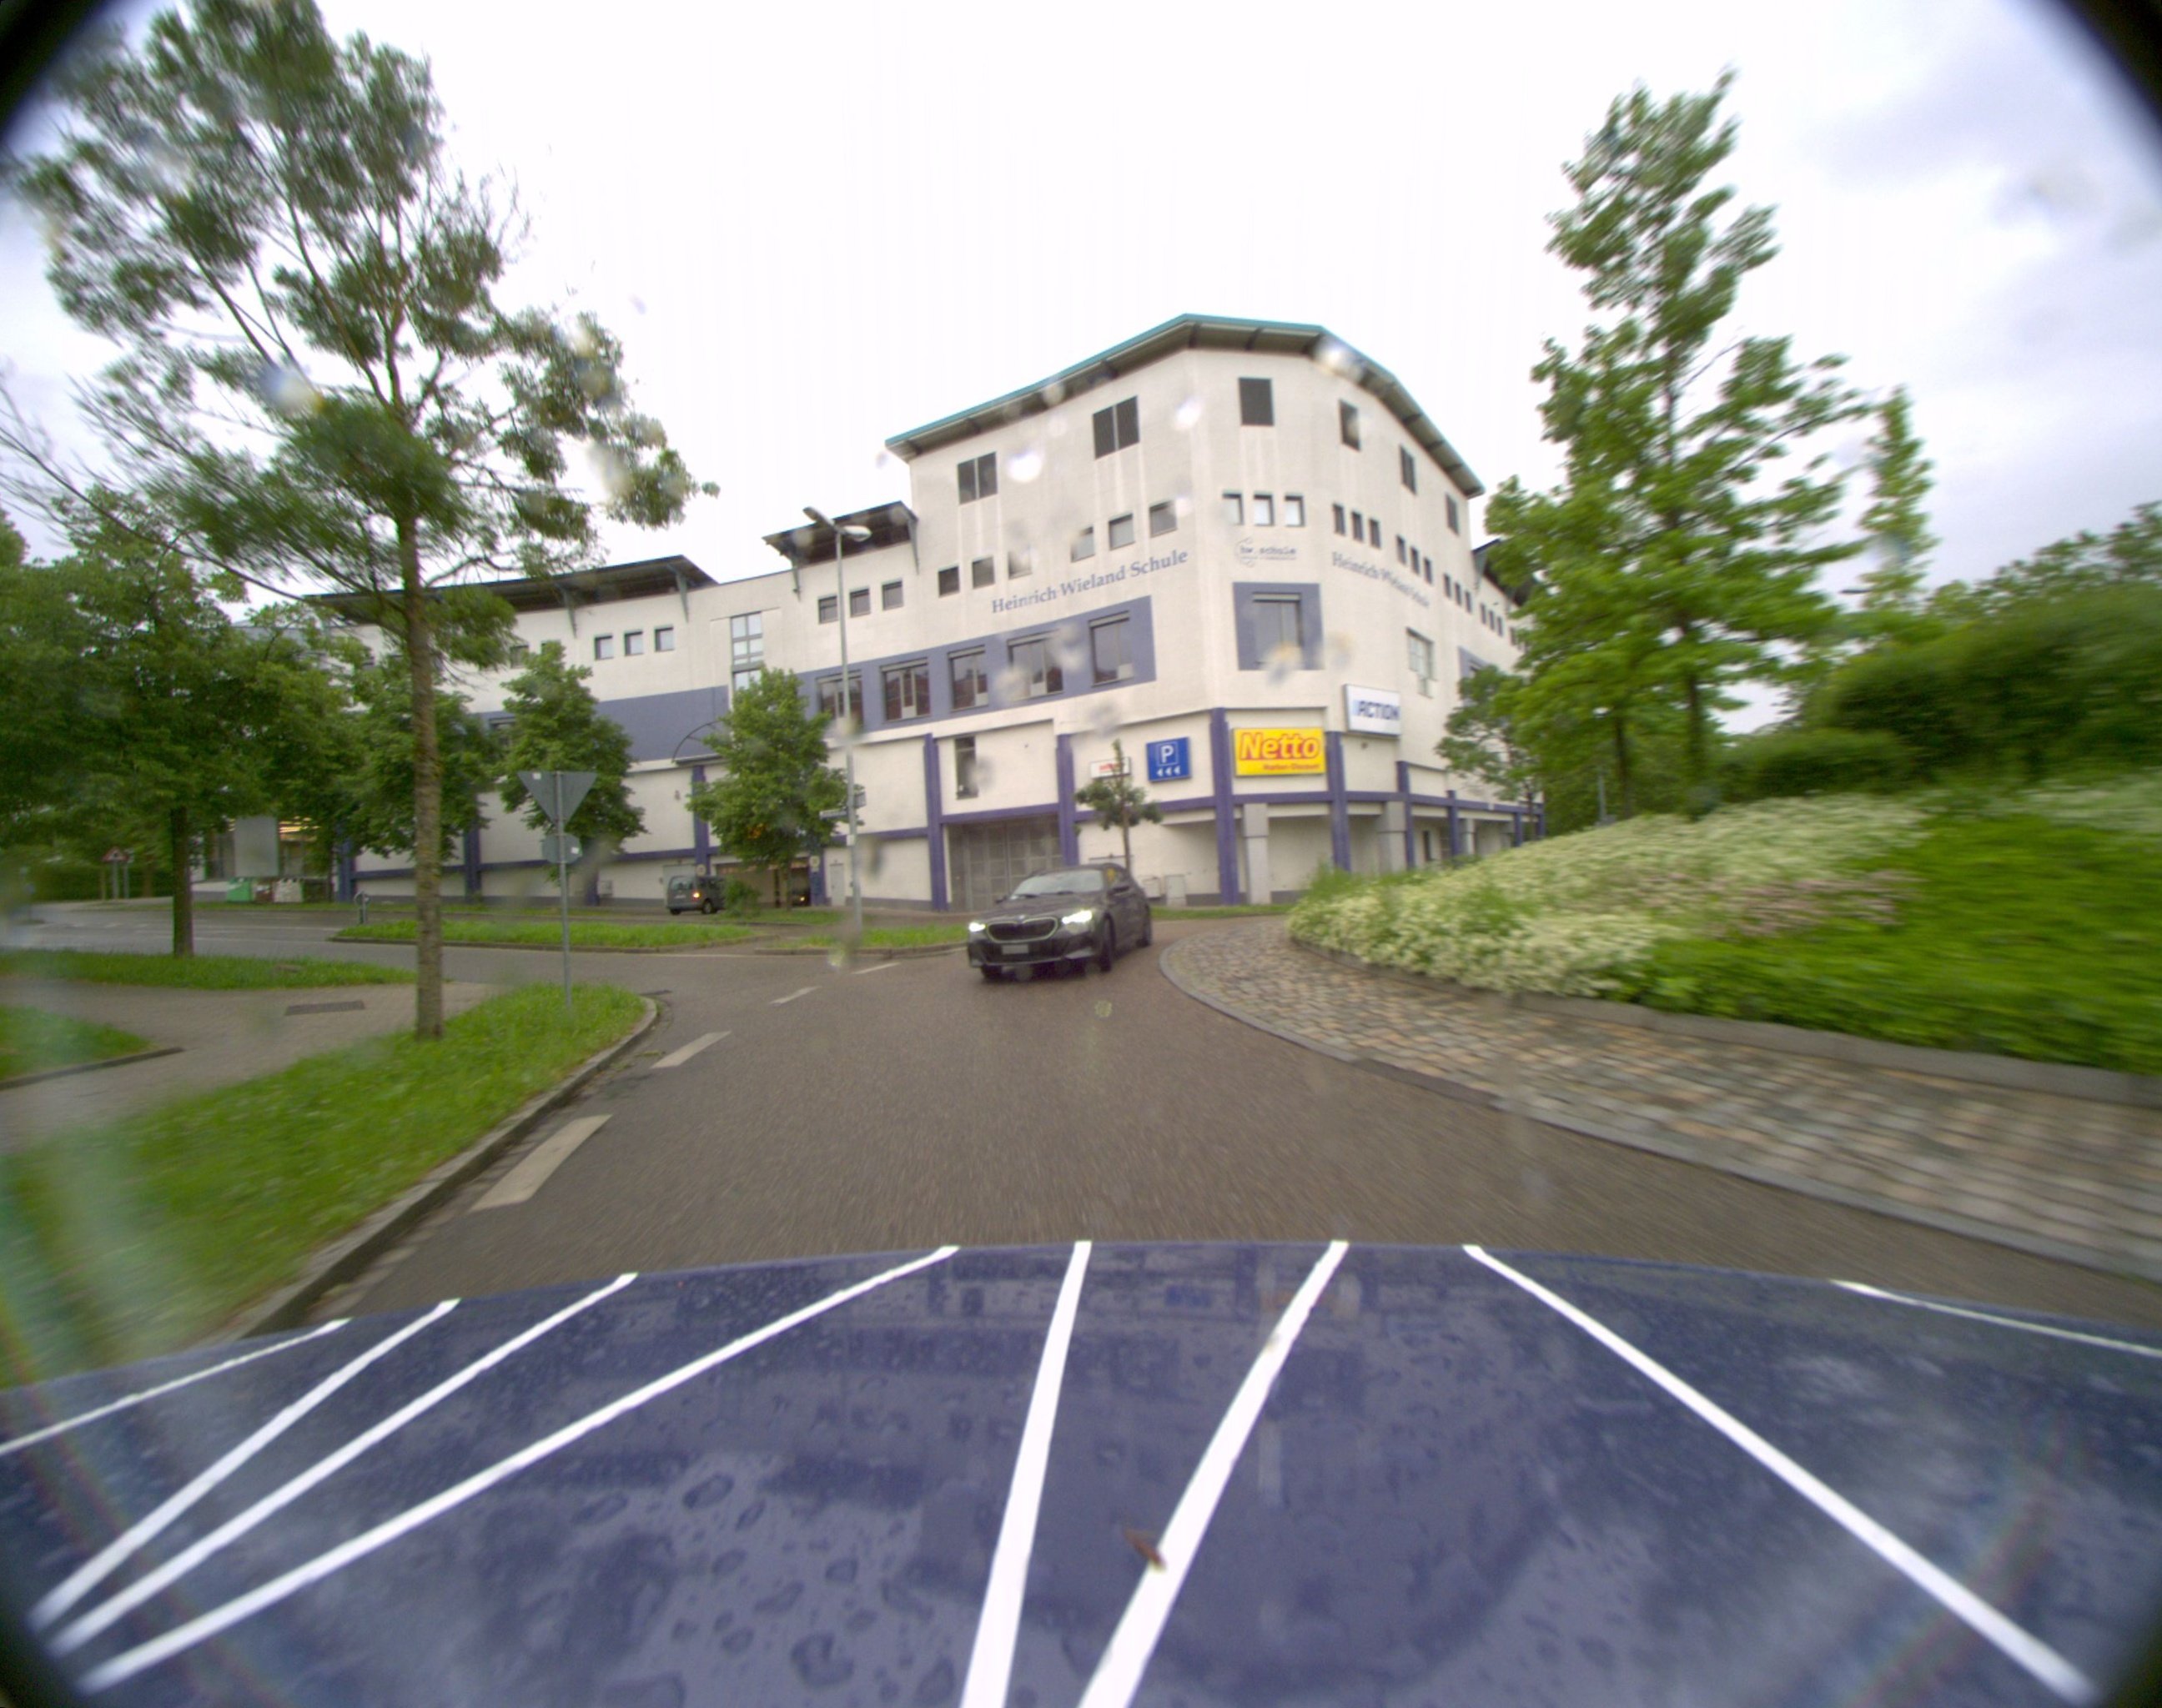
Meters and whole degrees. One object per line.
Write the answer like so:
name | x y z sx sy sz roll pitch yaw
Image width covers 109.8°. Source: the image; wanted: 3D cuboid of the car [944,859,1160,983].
car | -0.161 0.910 12.001 1.841 1.485 4.908 -5 -2 16

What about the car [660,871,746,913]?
car | -17.565 1.740 35.499 1.922 1.790 3.791 -1 -1 4
